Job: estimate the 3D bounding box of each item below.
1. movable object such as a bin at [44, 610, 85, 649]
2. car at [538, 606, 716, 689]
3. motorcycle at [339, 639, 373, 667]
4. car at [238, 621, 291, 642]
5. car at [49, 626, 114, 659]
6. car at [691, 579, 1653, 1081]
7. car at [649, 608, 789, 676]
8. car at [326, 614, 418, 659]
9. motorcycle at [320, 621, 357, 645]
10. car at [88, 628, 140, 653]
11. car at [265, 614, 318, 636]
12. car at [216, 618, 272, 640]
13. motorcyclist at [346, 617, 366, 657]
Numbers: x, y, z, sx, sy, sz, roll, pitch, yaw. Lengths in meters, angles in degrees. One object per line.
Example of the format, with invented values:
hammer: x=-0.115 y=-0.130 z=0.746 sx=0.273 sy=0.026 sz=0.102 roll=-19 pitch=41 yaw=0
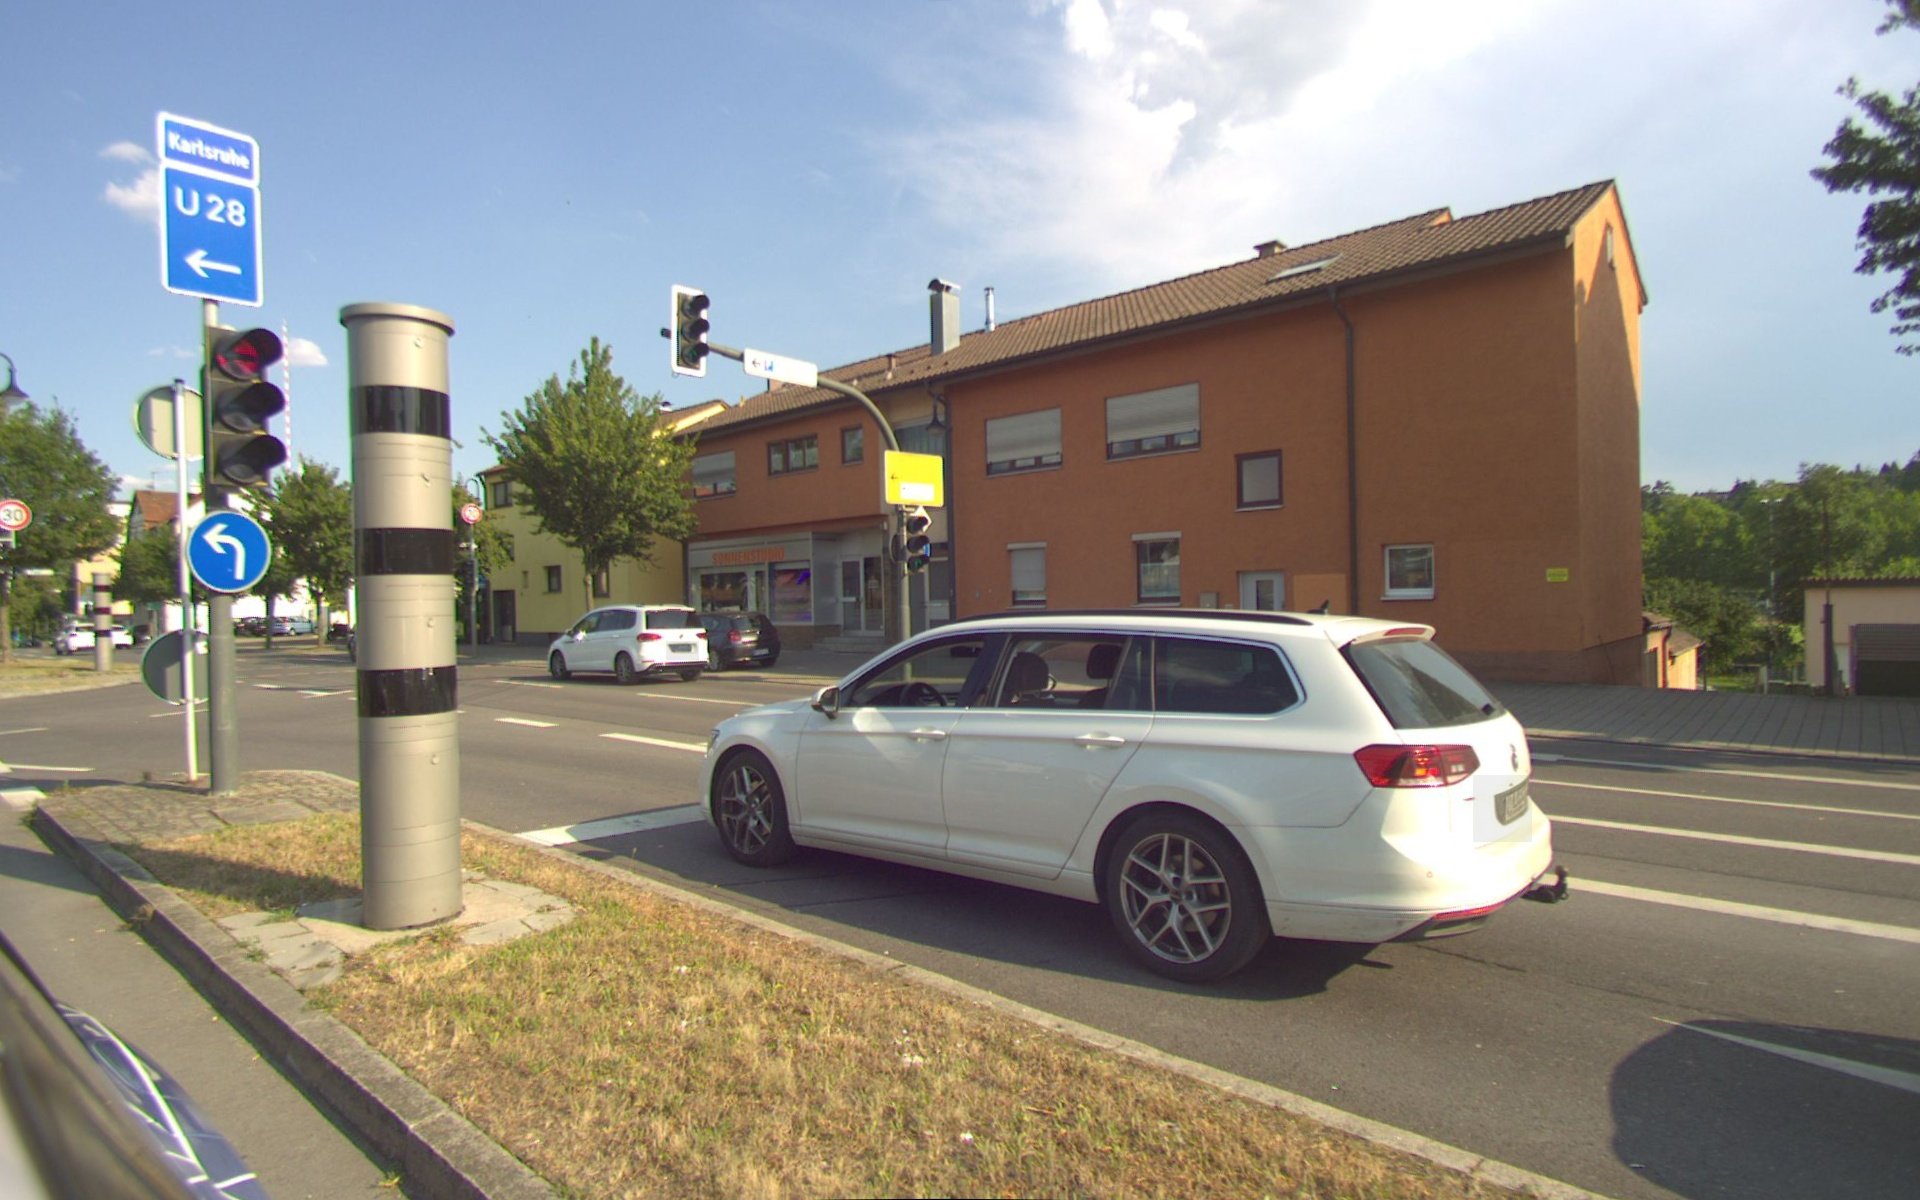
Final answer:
movable object such as a bin: x=-60.190 y=1.988 z=68.005 sx=4.977 sy=2.480 sz=1.536 roll=-2 pitch=-2 yaw=43
car: x=-7.326 y=0.979 z=22.039 sx=4.411 sy=1.624 sz=1.668 roll=-1 pitch=-1 yaw=41
motorcycle: x=-19.350 y=1.682 z=32.419 sx=1.762 sy=0.867 sz=0.408 roll=-2 pitch=-2 yaw=41
car: x=-52.309 y=2.355 z=76.187 sx=1.566 sy=1.576 sz=3.429 roll=-1 pitch=-1 yaw=2
car: x=-40.640 y=1.946 z=46.791 sx=3.998 sy=1.422 sz=1.739 roll=-2 pitch=-1 yaw=41
car: x=0.701 y=0.745 z=5.237 sx=4.564 sy=1.500 sz=1.816 roll=-2 pitch=-1 yaw=41
car: x=-6.060 y=1.029 z=25.259 sx=1.574 sy=1.449 sz=3.777 roll=-6 pitch=3 yaw=-45
car: x=-22.350 y=1.362 z=38.386 sx=4.460 sy=1.607 sz=1.834 roll=-2 pitch=-1 yaw=44
motorcycle: x=-37.294 y=1.987 z=60.760 sx=2.096 sy=1.332 sz=0.487 roll=-2 pitch=-1 yaw=10
car: x=-50.155 y=2.398 z=59.962 sx=3.998 sy=1.422 sz=1.739 roll=-2 pitch=-1 yaw=41
car: x=-49.452 y=1.842 z=74.957 sx=1.599 sy=1.555 sz=3.429 roll=-1 pitch=-2 yaw=2
car: x=-54.377 y=2.249 z=76.893 sx=1.836 sy=1.638 sz=3.410 roll=0 pitch=-2 yaw=-1
motorcyclist: x=-19.372 y=1.183 z=32.457 sx=0.461 sy=1.238 sz=0.399 roll=-2 pitch=-2 yaw=39
